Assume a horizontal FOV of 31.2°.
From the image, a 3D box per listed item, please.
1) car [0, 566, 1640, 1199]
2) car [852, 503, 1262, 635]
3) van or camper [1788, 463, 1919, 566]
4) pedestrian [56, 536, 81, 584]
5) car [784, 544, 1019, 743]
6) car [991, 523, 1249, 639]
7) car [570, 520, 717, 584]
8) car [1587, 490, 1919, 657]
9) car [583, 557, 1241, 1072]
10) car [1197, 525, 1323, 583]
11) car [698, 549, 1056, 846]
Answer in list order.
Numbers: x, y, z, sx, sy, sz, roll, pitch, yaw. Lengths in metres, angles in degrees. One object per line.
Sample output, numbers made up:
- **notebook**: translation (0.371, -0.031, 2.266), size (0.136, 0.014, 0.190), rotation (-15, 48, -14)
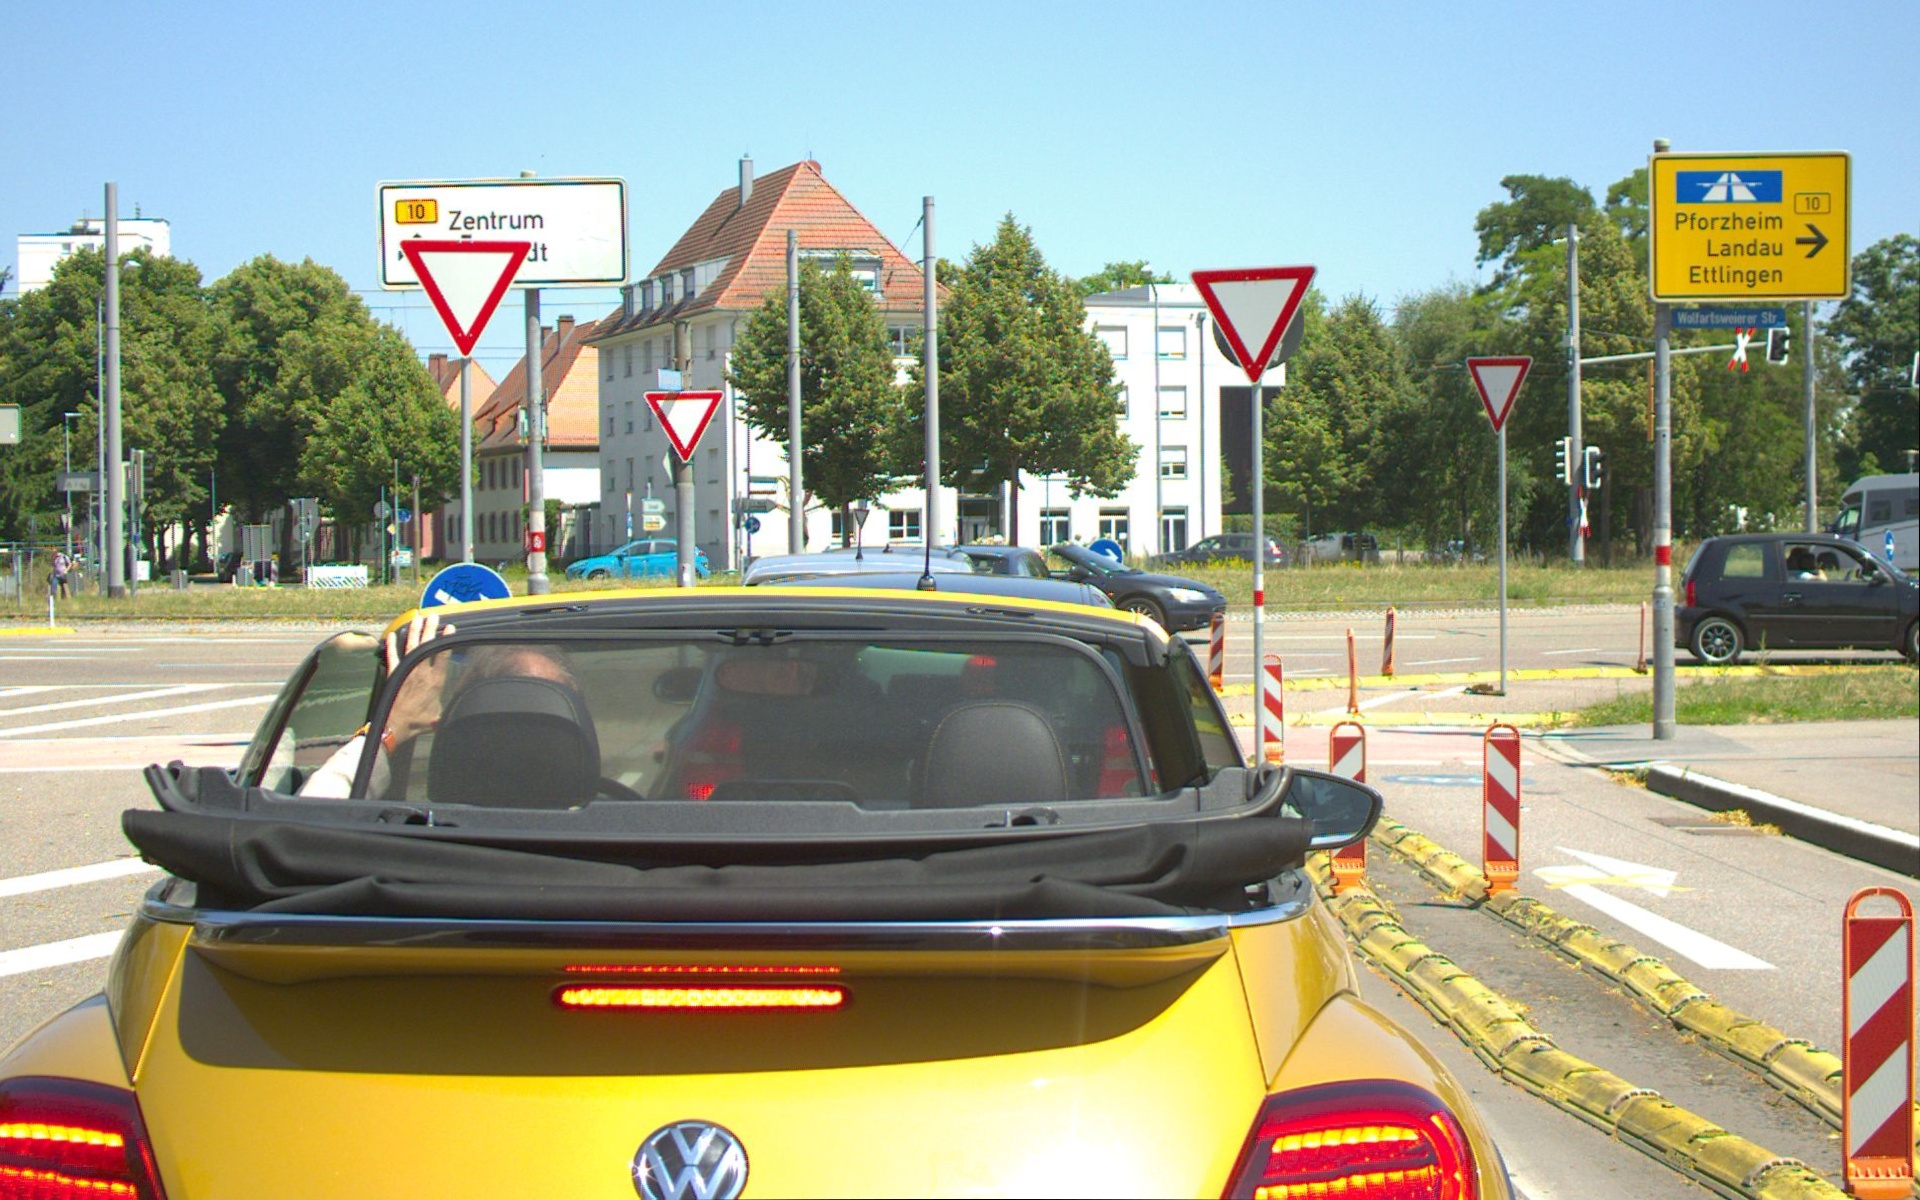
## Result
- **car**: translation (-0.318, 0.673, 4.862), size (1.752, 1.417, 3.778), rotation (0, 1, -1)
- **car**: translation (1.262, -0.416, 44.646), size (4.943, 1.650, 1.998), rotation (1, 1, 21)
- **van or camper**: translation (25.631, -2.250, 90.804), size (2.505, 2.684, 7.511), rotation (0, 1, -35)
- **pedestrian**: translation (-28.763, -1.286, 110.932), size (0.498, 1.558, 0.591), rotation (0, 1, 33)
- **car**: translation (-0.451, 0.293, 27.489), size (1.736, 1.472, 4.000), rotation (0, 1, -1)
- **car**: translation (2.523, -0.310, 54.940), size (3.987, 1.809, 2.000), rotation (0, 1, -1)
- **car**: translation (-9.226, -1.383, 100.137), size (3.986, 1.831, 2.001), rotation (0, 1, -14)
- **car**: translation (9.040, -0.311, 38.424), size (3.989, 1.809, 1.999), rotation (0, 1, 11)
- **car**: translation (-0.155, 0.579, 11.675), size (1.848, 1.437, 4.000), rotation (0, 1, -1)
- **car**: translation (8.367, -1.276, 95.897), size (3.217, 1.601, 1.651), rotation (0, 1, -7)
- **car**: translation (-0.423, 0.442, 18.688), size (1.736, 1.437, 4.000), rotation (0, 1, -1)
